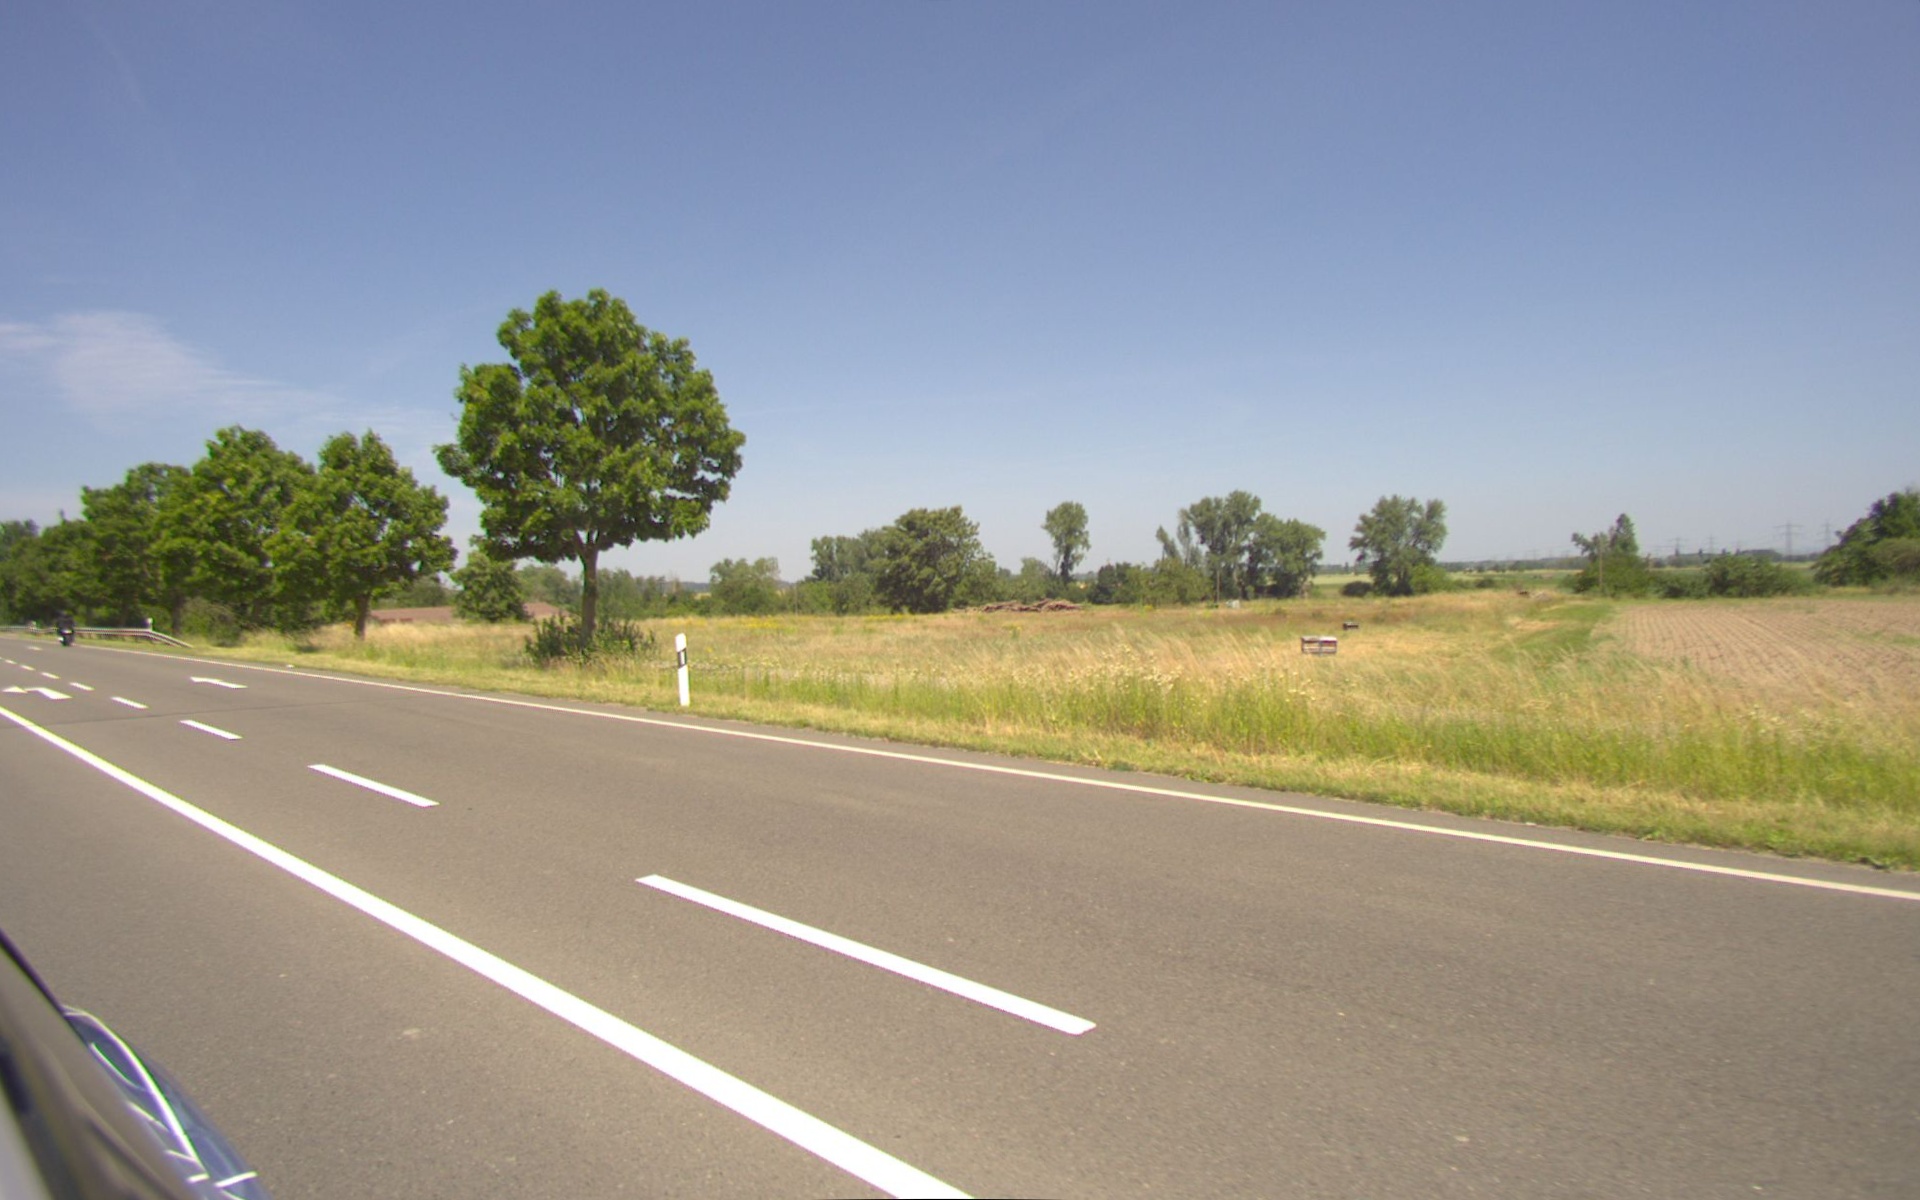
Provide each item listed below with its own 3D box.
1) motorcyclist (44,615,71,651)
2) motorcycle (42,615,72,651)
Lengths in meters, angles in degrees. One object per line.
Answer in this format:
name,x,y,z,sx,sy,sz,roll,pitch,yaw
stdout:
motorcyclist,-45.001,1.650,50.446,1.088,1.734,0.844,-1,-1,41
motorcycle,-45.094,1.642,50.529,2.445,1.756,0.879,-1,0,42
